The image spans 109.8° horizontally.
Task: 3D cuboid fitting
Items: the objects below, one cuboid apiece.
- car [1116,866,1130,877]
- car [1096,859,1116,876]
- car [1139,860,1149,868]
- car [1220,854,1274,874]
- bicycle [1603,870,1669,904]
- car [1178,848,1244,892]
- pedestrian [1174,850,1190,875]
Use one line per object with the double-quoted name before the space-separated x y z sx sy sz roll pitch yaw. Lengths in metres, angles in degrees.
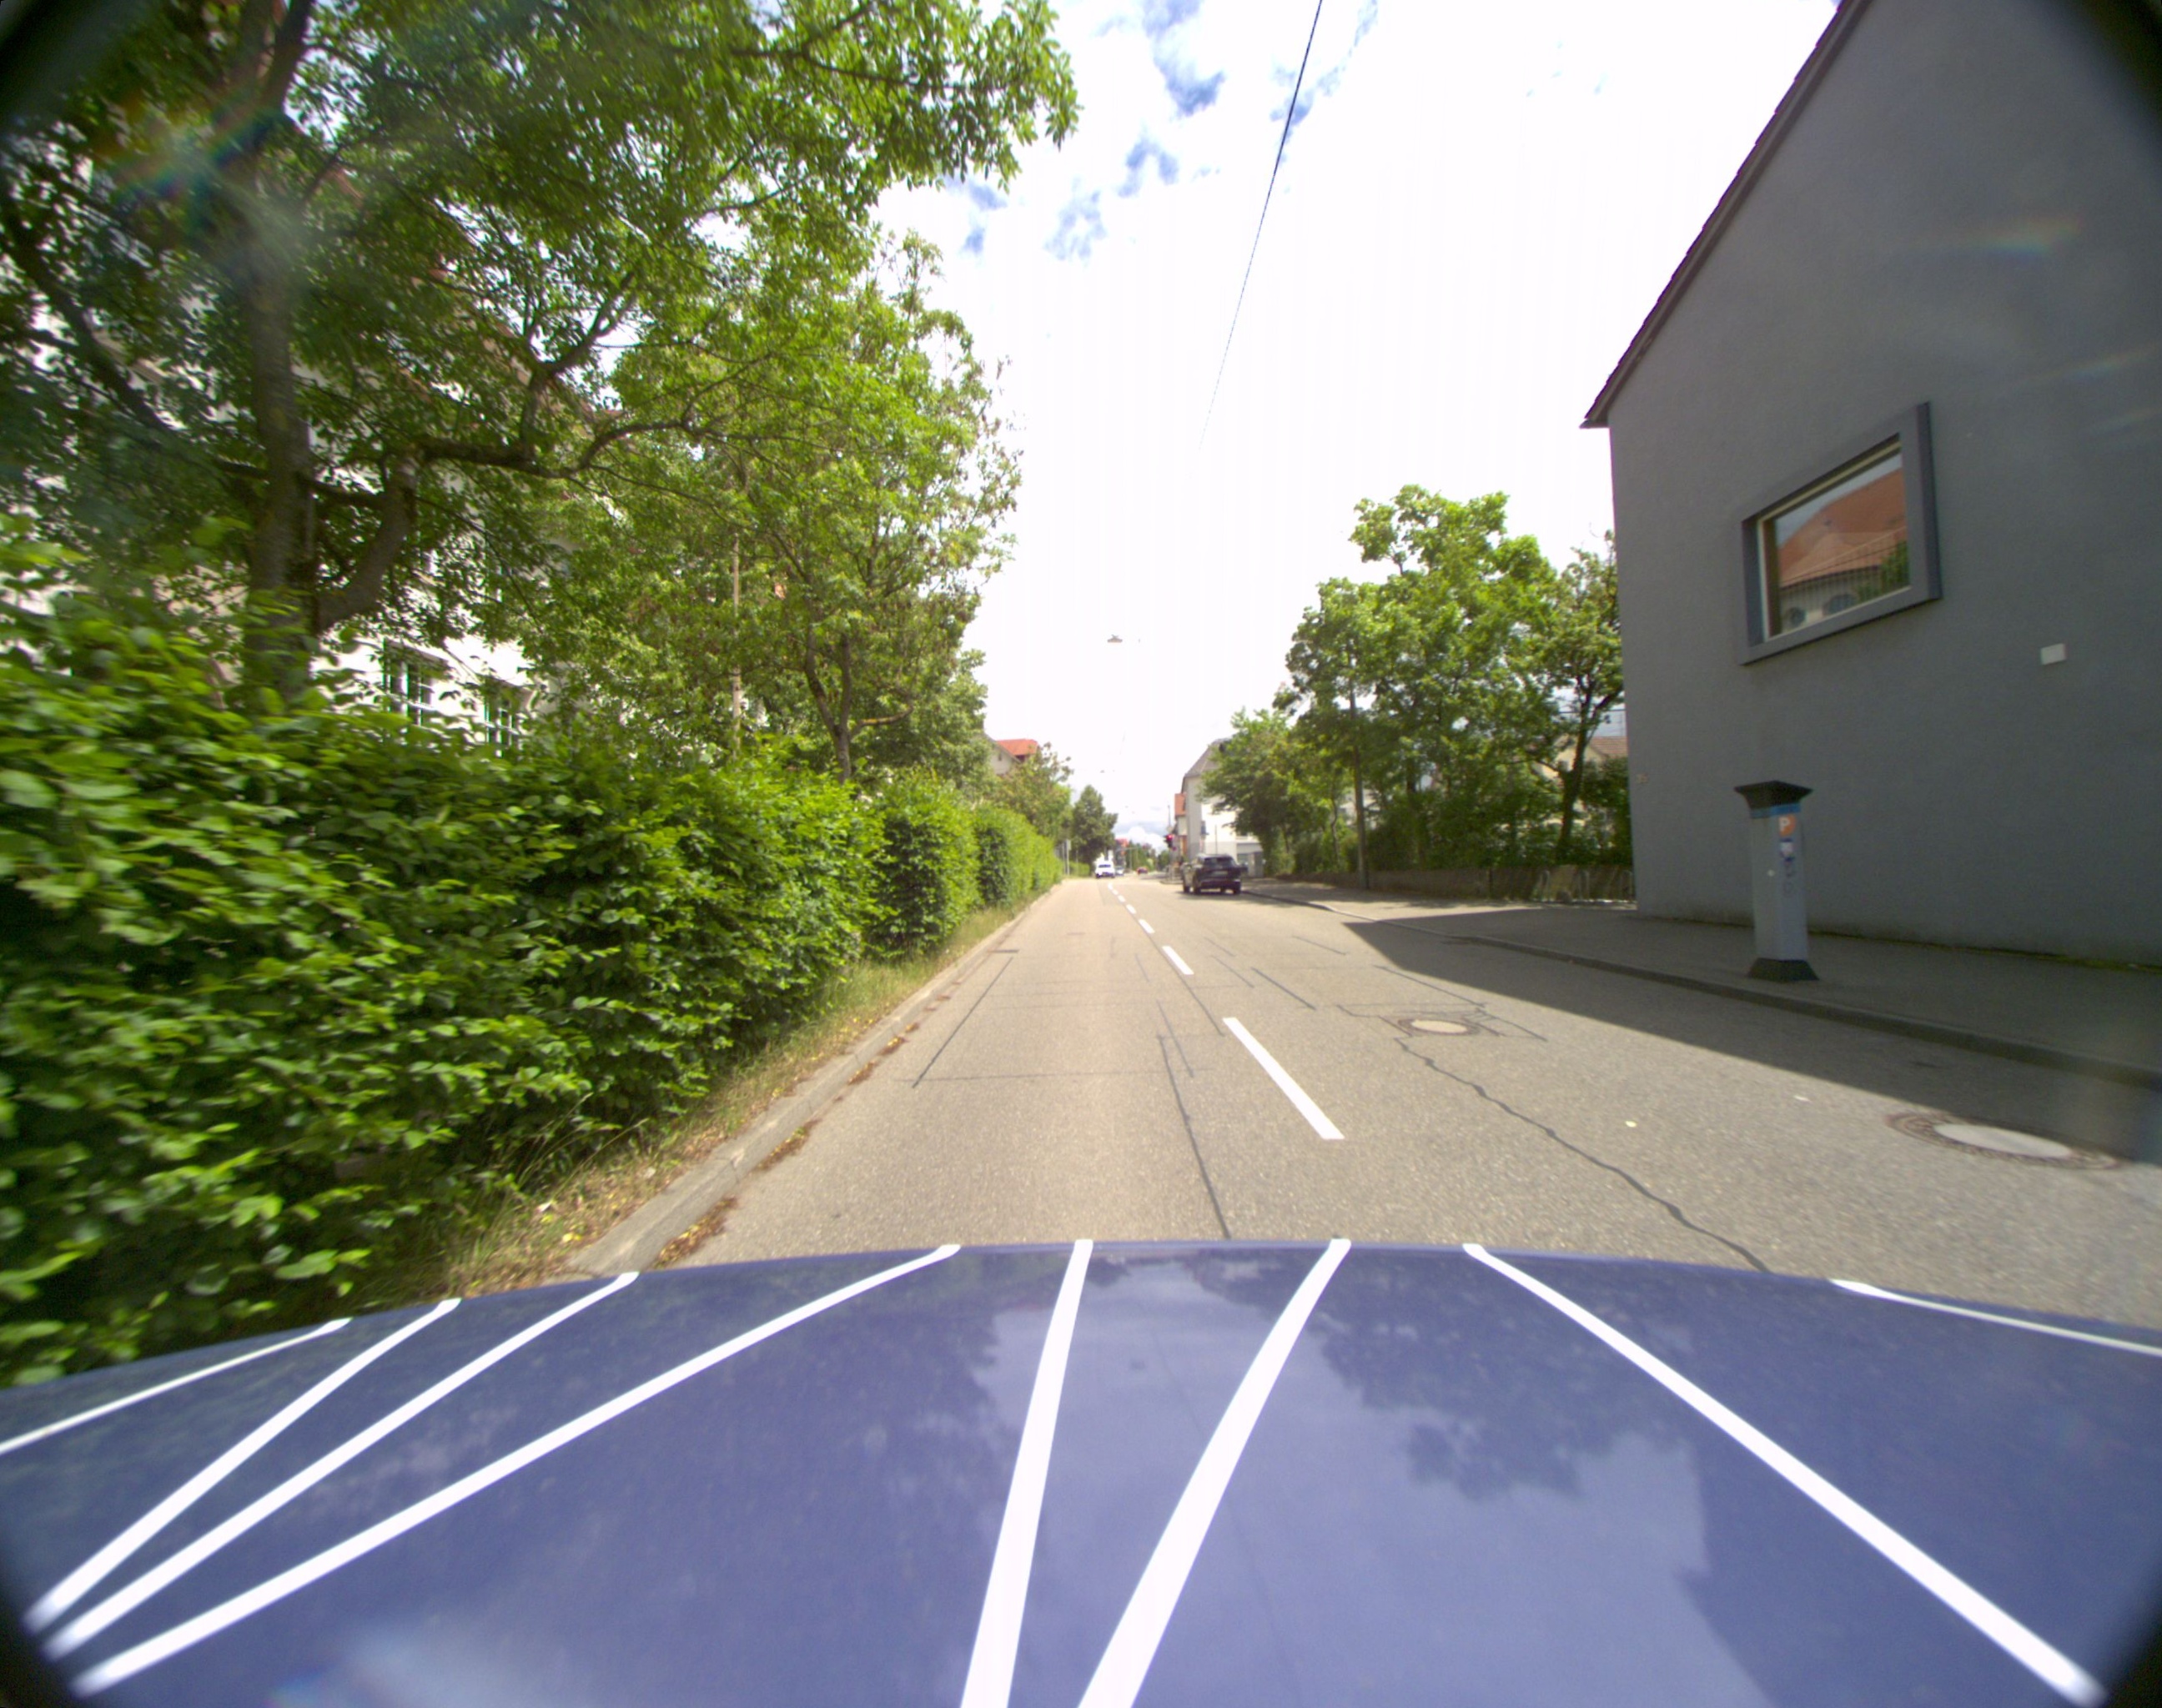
"car" 6.246 2.604 113.874 1.794 1.477 4.003 -3 -2 6
"car" 2.600 1.387 78.949 1.893 1.717 4.295 -2 -1 4
"car" 12.871 2.101 155.194 1.794 1.477 4.003 -3 -2 6
"car" 13.533 0.823 62.245 3.997 1.467 1.859 -2 -3 1
"bicycle" 13.360 0.775 18.332 0.588 0.746 1.443 2 0 4
"car" 5.260 0.648 31.347 1.800 1.600 4.645 -2 -1 -2
"pedestrian" 6.660 0.553 50.074 0.774 1.588 0.670 -2 0 -35
